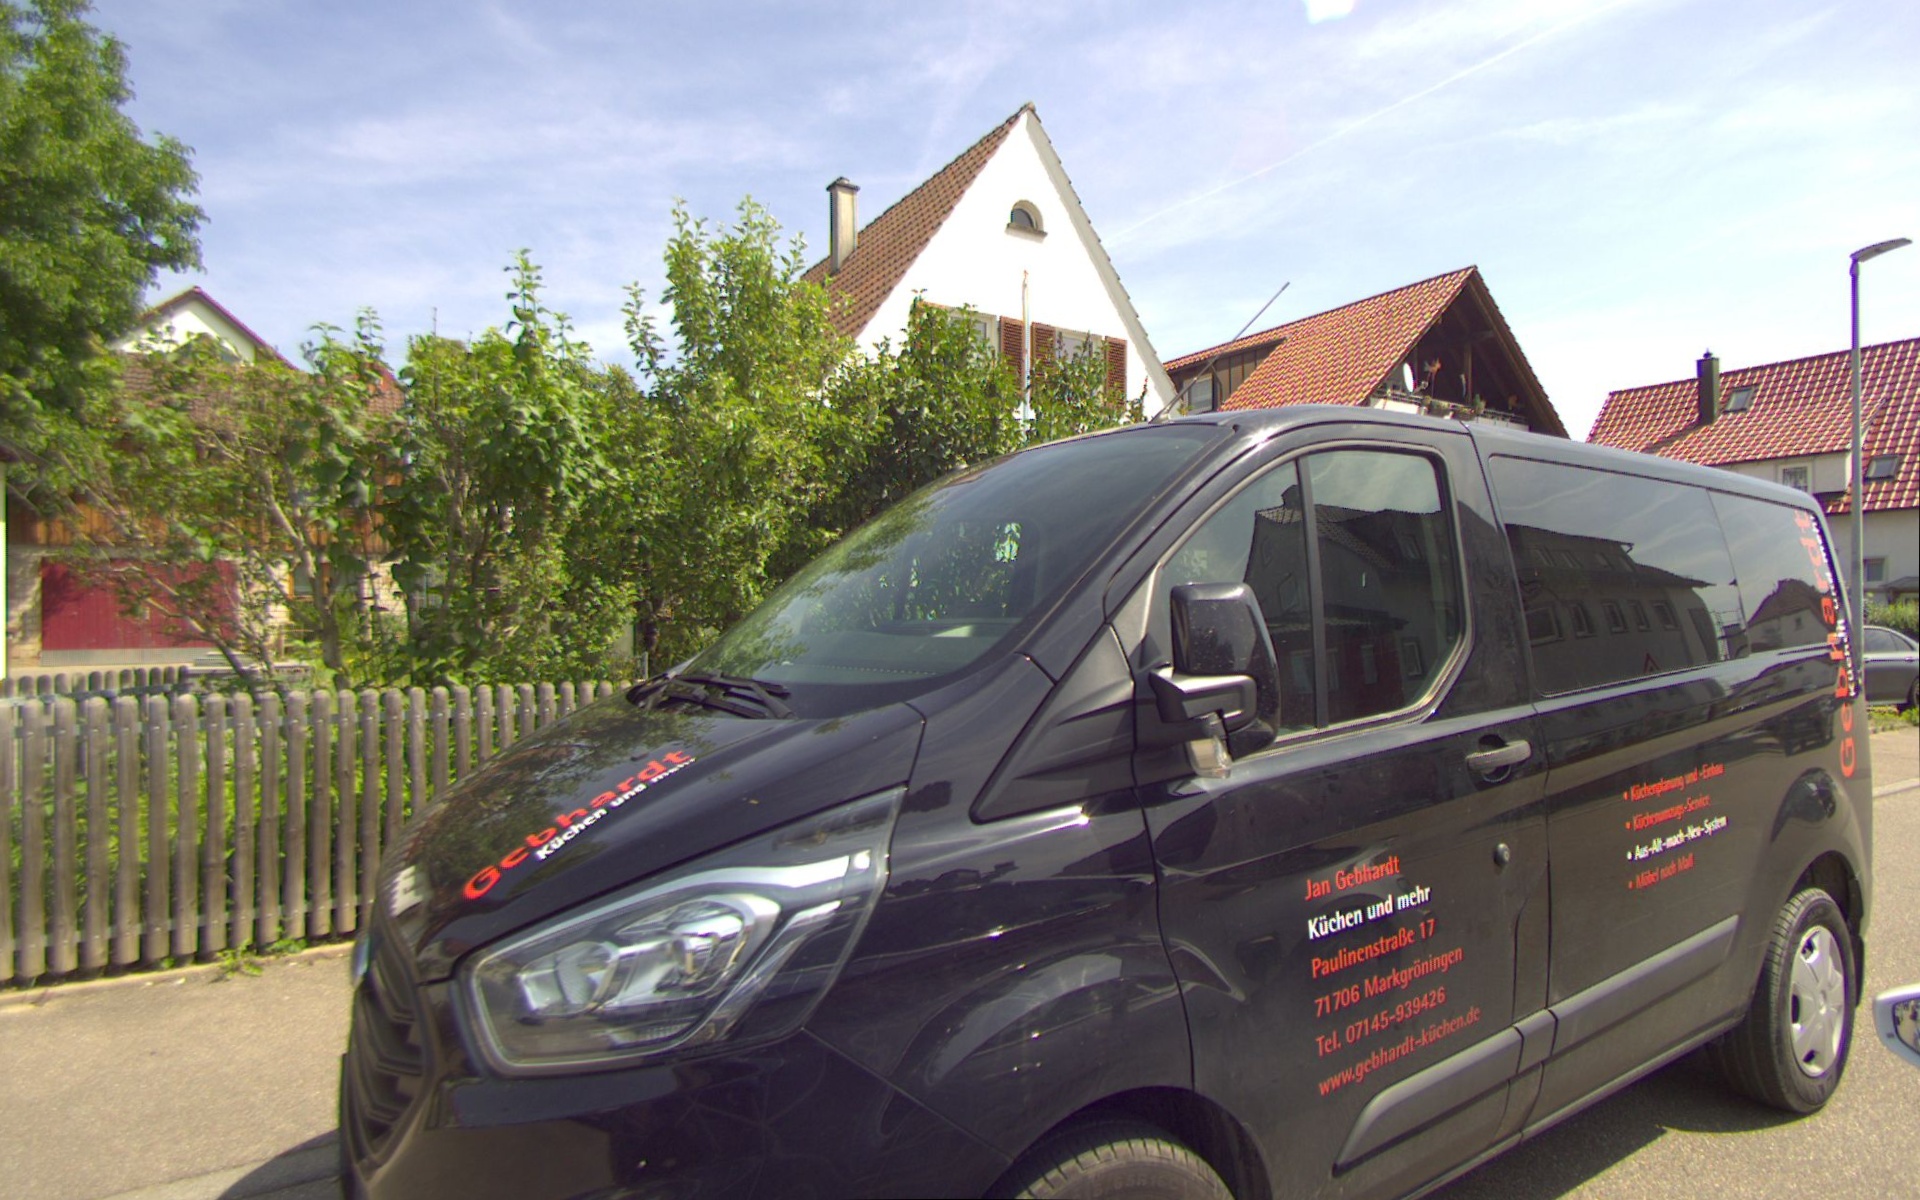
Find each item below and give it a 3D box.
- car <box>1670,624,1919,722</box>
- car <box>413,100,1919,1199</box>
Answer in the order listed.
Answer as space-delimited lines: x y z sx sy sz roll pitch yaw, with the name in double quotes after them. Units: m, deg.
14.378 1.163 16.683 4.488 1.451 1.827 1 -1 -16 "car"
1.020 0.527 3.111 4.645 1.977 1.957 1 -1 -33 "car"
